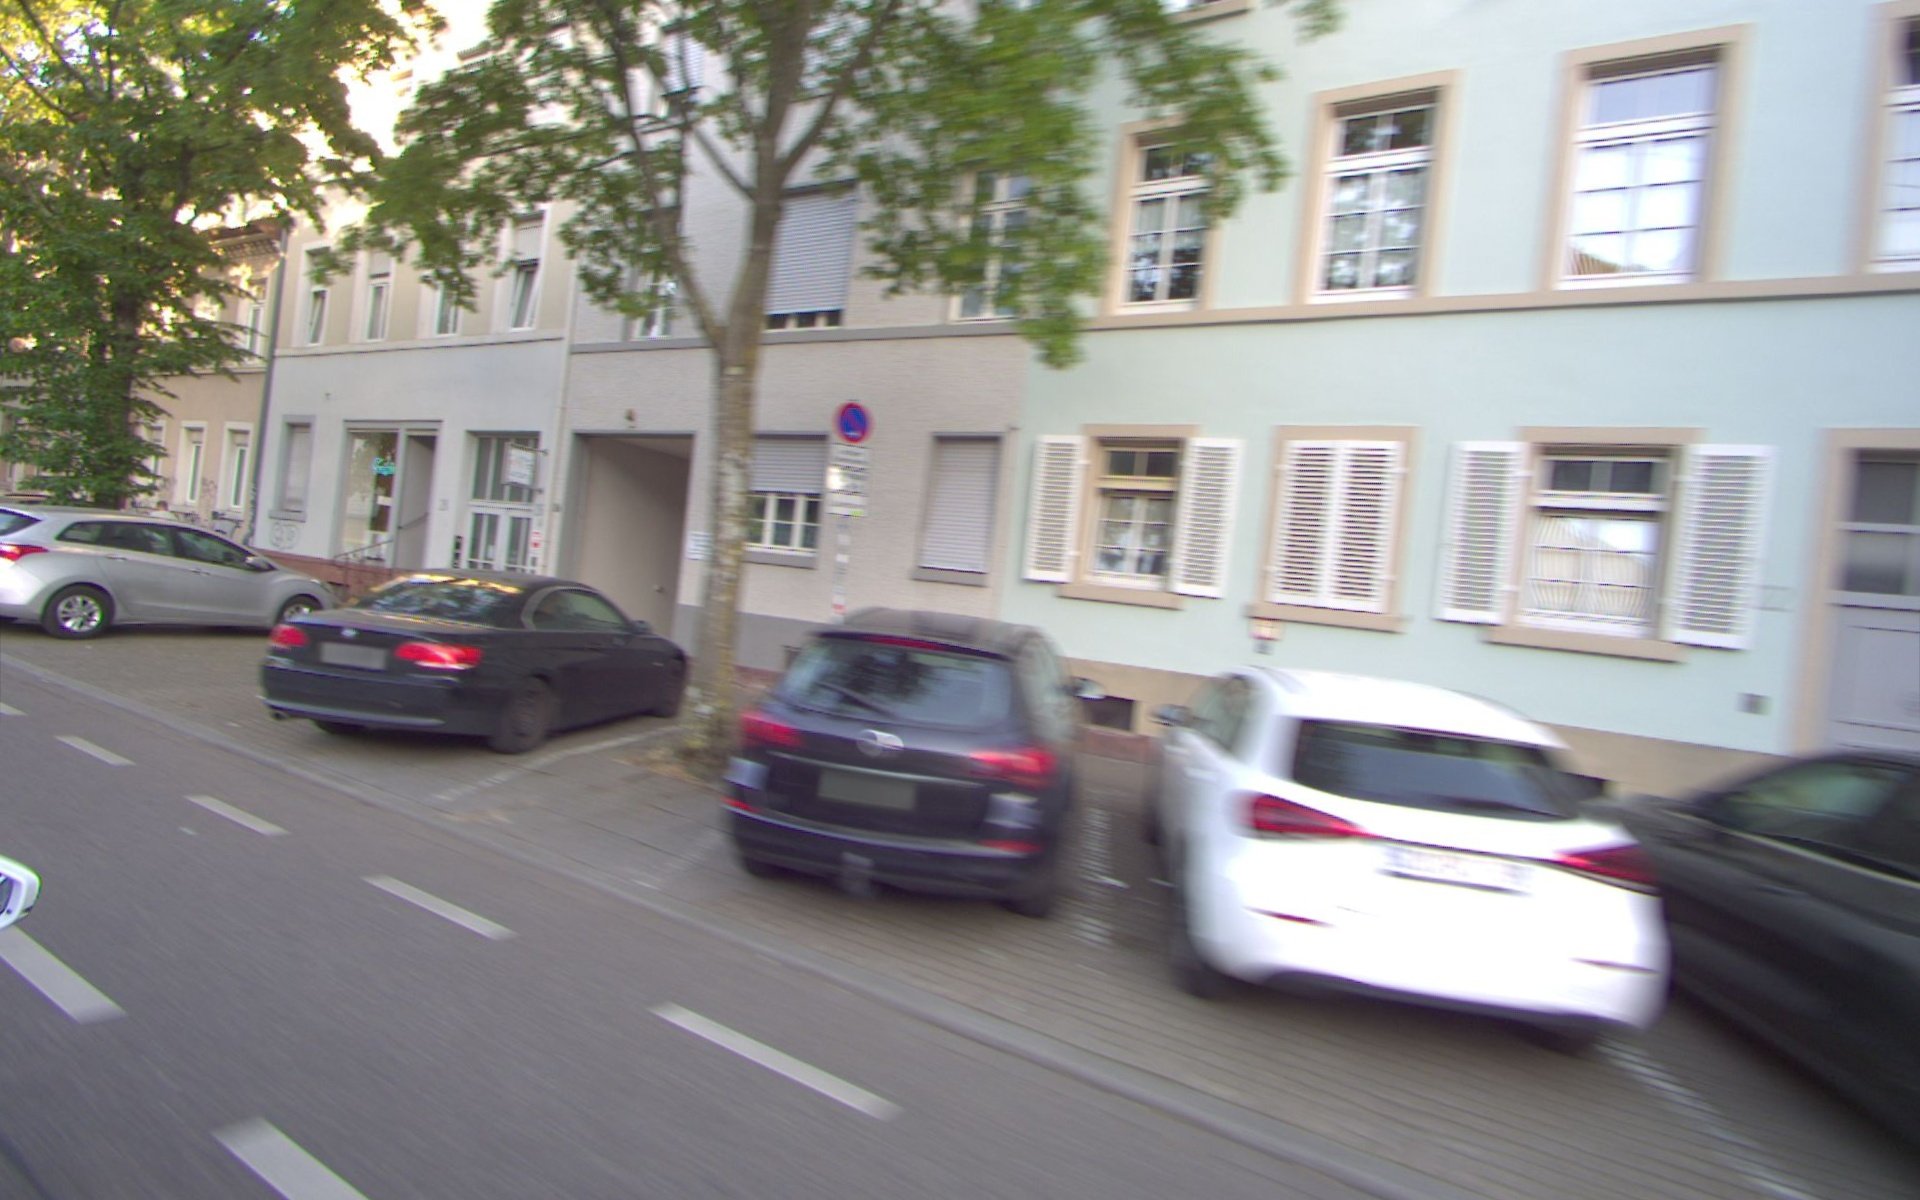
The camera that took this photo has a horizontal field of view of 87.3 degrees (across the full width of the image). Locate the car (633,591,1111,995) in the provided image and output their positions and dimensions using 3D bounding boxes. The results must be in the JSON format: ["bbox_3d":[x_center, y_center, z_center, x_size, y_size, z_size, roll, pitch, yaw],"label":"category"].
[{"bbox_3d":[-0.153,0.797,6.398,1.977,1.490,4.127,6,2,7],"label":"car"}]

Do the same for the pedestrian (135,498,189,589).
[{"bbox_3d":[-17.051,-1.200,21.509,0.596,1.837,0.567,7,0,28],"label":"pedestrian"}]

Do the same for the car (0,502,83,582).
[{"bbox_3d":[-18.770,-1.199,18.181,1.884,1.443,4.135,6,0,6],"label":"car"}]

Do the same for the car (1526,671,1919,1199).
[{"bbox_3d":[4.097,1.287,3.938,1.788,1.490,4.127,6,2,9],"label":"car"}]

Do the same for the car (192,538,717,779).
[{"bbox_3d":[-3.981,0.413,8.930,1.977,1.409,4.265,6,0,8],"label":"car"}]

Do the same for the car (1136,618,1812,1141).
[{"bbox_3d":[2.140,1.014,5.641,1.949,1.490,4.127,6,2,7],"label":"car"}]

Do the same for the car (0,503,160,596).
[{"bbox_3d":[-16.135,-0.908,16.824,1.861,1.443,4.135,6,0,6],"label":"car"}]

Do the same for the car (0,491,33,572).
[{"bbox_3d":[-21.389,-1.594,19.982,1.889,1.640,3.953,6,0,32],"label":"car"}]

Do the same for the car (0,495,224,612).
[{"bbox_3d":[-13.795,-0.714,15.103,1.861,1.580,4.265,6,0,9],"label":"car"}]

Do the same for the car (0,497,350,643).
[{"bbox_3d":[-10.561,-0.346,12.908,1.982,1.568,4.262,6,0,21],"label":"car"}]
